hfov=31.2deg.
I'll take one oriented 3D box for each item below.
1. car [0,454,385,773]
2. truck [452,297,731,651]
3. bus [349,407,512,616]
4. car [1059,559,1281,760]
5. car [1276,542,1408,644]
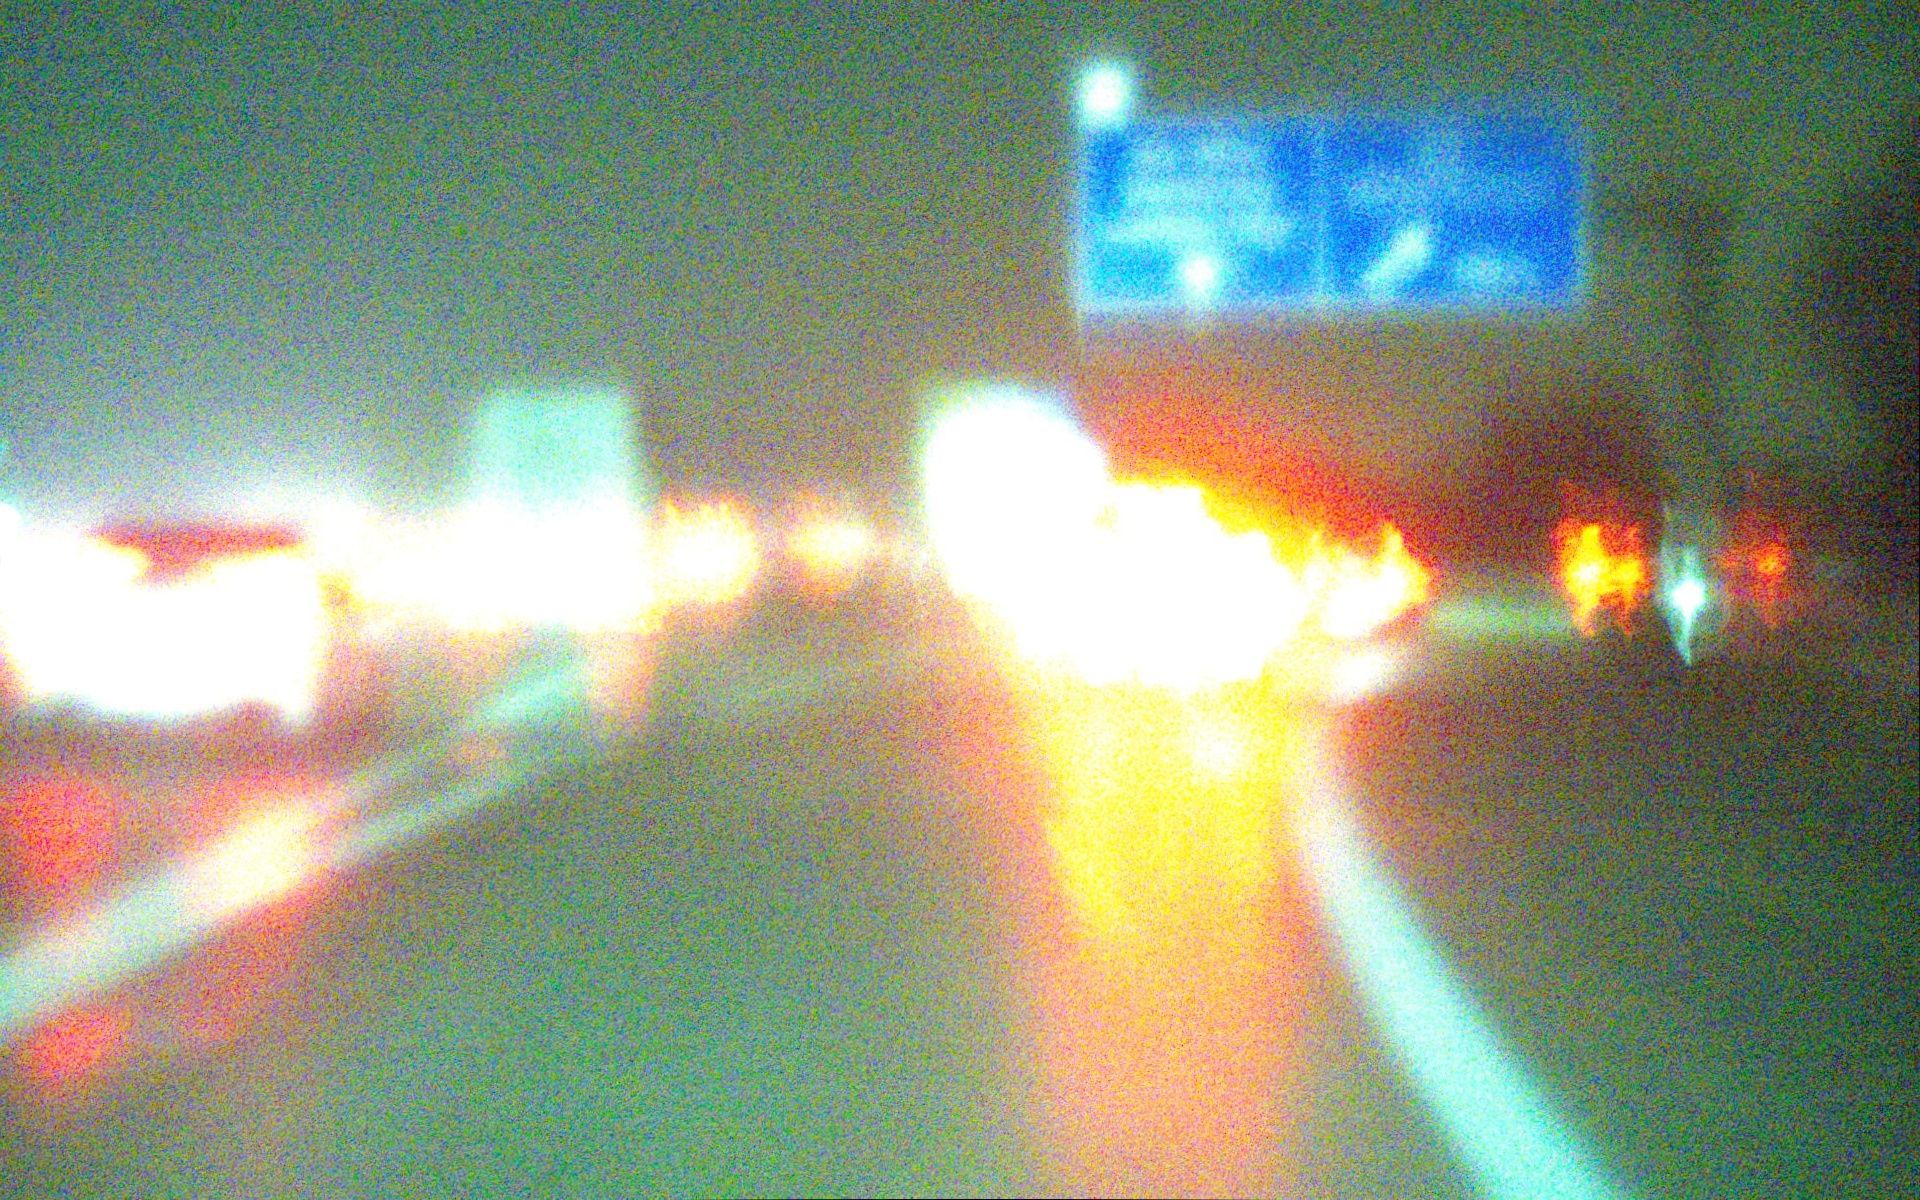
[{"bbox_3d":[-5.368,0.053,24.371,2.125,2.007,4.646,1,1,-5],"label":"car"},{"bbox_3d":[-6.331,-2.112,61.254,4.210,5.629,11.469,1,1,-3],"label":"truck"},{"bbox_3d":[-12.236,-2.006,80.277,3.096,4.492,10.915,1,1,-6],"label":"bus"},{"bbox_3d":[1.991,0.521,33.534,1.993,1.801,4.000,1,1,2],"label":"car"},{"bbox_3d":[7.191,-0.149,64.345,1.995,1.801,3.998,1,1,13],"label":"car"}]
